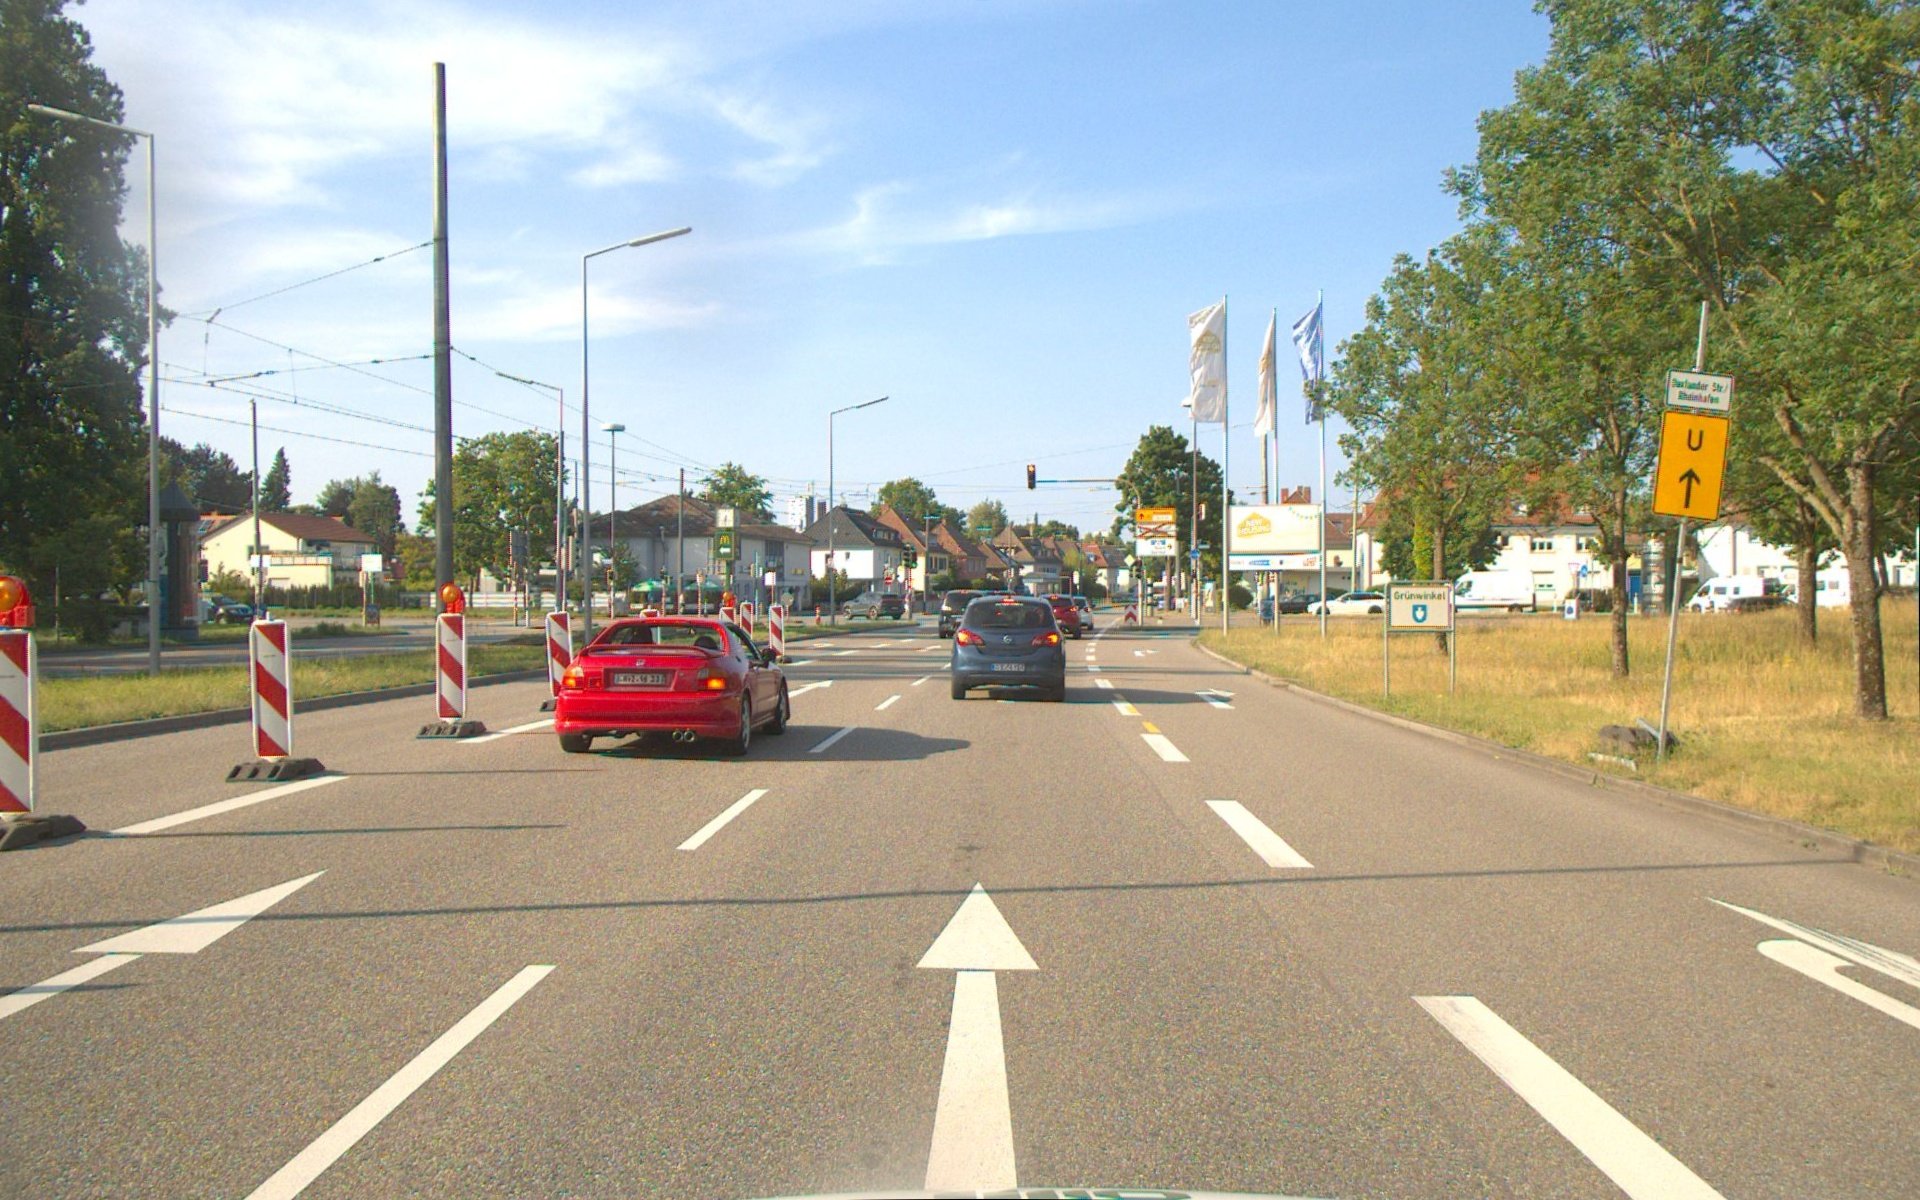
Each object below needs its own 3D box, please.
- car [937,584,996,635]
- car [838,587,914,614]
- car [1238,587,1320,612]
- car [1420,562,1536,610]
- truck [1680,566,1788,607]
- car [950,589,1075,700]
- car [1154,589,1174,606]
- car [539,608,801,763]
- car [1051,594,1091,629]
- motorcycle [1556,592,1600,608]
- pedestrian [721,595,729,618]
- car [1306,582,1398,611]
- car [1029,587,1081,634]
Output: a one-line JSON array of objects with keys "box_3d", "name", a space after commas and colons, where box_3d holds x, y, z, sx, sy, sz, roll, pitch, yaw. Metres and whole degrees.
[{"box_3d": [0.246, 0.291, 57.394, 1.726, 1.700, 4.087, 0, 0, 5], "name": "car"}, {"box_3d": [-4.833, 0.011, 95.607, 3.907, 1.512, 1.999, -1, 0, 25], "name": "car"}, {"box_3d": [19.163, -0.011, 99.529, 4.721, 1.436, 1.717, -1, 0, 8], "name": "car"}, {"box_3d": [29.554, -0.783, 94.477, 6.075, 2.629, 2.002, 0, 0, 8], "name": "car"}, {"box_3d": [50.090, -0.868, 107.196, 2.243, 2.568, 6.302, -1, 1, -27], "name": "truck"}, {"box_3d": [0.720, 0.609, 25.299, 1.706, 1.532, 4.222, 0, 1, -1], "name": "car"}, {"box_3d": [17.827, -0.244, 144.665, 1.639, 1.422, 4.003, 1, 0, 8], "name": "car"}, {"box_3d": [-2.670, 0.739, 16.071, 1.695, 1.227, 3.848, 1, 1, 2], "name": "car"}, {"box_3d": [4.834, 0.475, 71.724, 1.621, 1.468, 4.017, -1, 0, 5], "name": "car"}, {"box_3d": [34.724, 0.016, 92.978, 2.223, 0.882, 0.691, 0, 0, 7], "name": "motorcycle"}, {"box_3d": [-16.508, 0.460, 116.098, 0.501, 1.627, 0.540, 0, 0, 2], "name": "pedestrian"}, {"box_3d": [22.557, -0.195, 95.380, 4.986, 1.590, 1.841, -1, 0, 8], "name": "car"}, {"box_3d": [3.375, 0.353, 58.368, 1.670, 1.579, 3.980, -1, 0, 5], "name": "car"}]
